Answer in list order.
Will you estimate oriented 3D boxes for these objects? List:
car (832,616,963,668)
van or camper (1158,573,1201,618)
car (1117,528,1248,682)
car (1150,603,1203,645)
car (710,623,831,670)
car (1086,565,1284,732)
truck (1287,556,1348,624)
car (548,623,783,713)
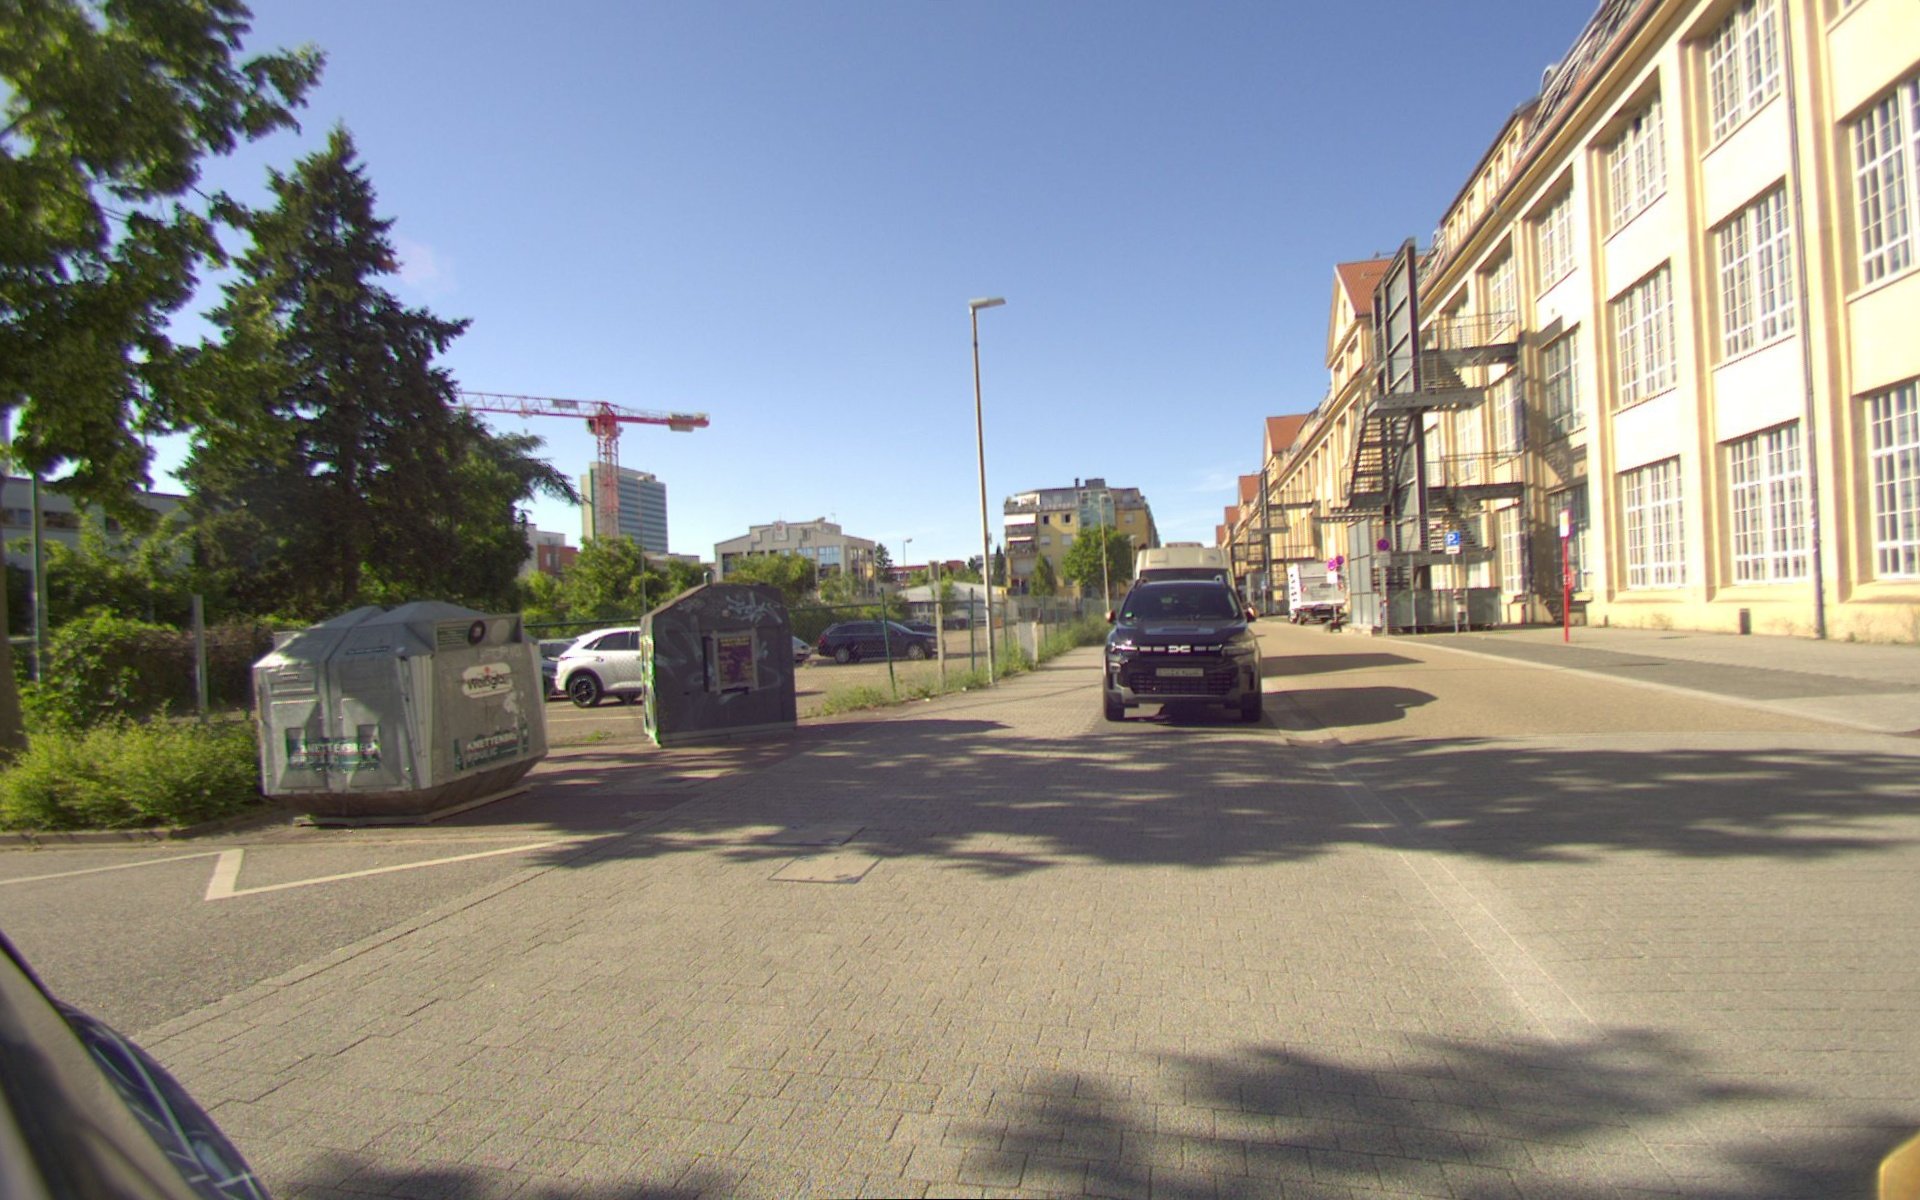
[{"bbox_3d":[-2.201,1.467,35.854,4.205,1.572,1.888,-3,-1,16],"label":"car"},{"bbox_3d":[15.330,-0.307,70.996,2.696,2.878,5.116,-3,0,11],"label":"van or camper"},{"bbox_3d":[4.583,0.119,20.805,2.143,2.616,6.257,-3,-1,13],"label":"car"},{"bbox_3d":[8.343,0.896,38.874,1.833,1.436,4.207,-3,-1,13],"label":"car"},{"bbox_3d":[-7.397,1.825,39.635,4.200,1.572,1.890,-3,-1,13],"label":"car"},{"bbox_3d":[2.858,0.548,12.723,1.981,1.708,4.084,-3,-1,14],"label":"car"},{"bbox_3d":[19.828,-0.520,56.513,2.478,3.457,7.093,-3,0,15],"label":"truck"},{"bbox_3d":[-6.242,1.443,21.590,4.386,1.622,1.990,-3,-1,16],"label":"car"}]
